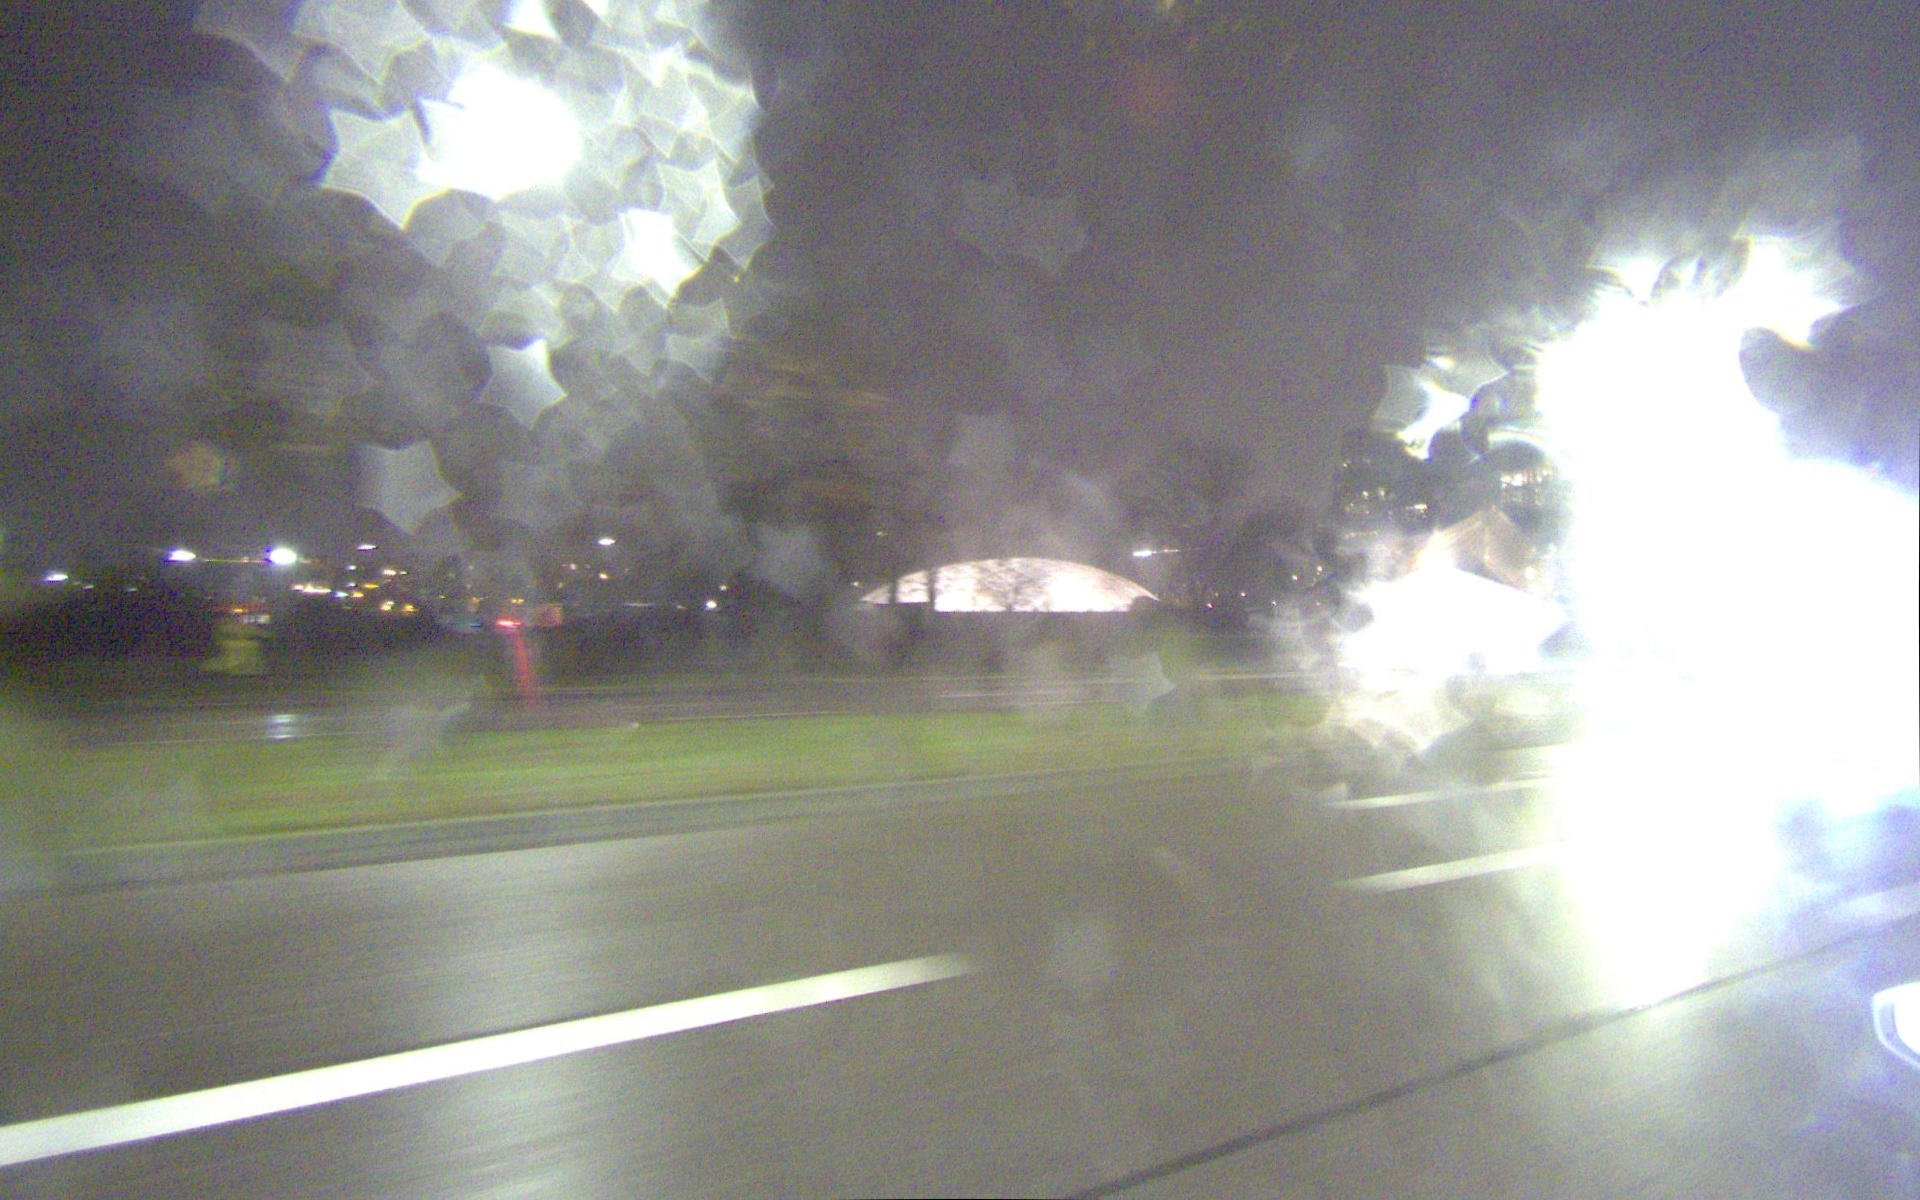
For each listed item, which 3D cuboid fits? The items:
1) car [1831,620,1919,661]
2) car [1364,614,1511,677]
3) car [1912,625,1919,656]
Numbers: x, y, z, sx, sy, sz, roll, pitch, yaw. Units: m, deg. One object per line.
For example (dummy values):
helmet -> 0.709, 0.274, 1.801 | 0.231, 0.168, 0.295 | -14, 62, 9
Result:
car -> 36.152, 1.539, 39.500 | 3.956, 1.484, 1.819 | 1, 0, -33
car -> 14.346, 1.312, 30.121 | 4.388, 1.736, 1.820 | 1, 0, -30
car -> 49.084, 2.004, 49.673 | 4.607, 1.484, 1.819 | 1, 0, -32
